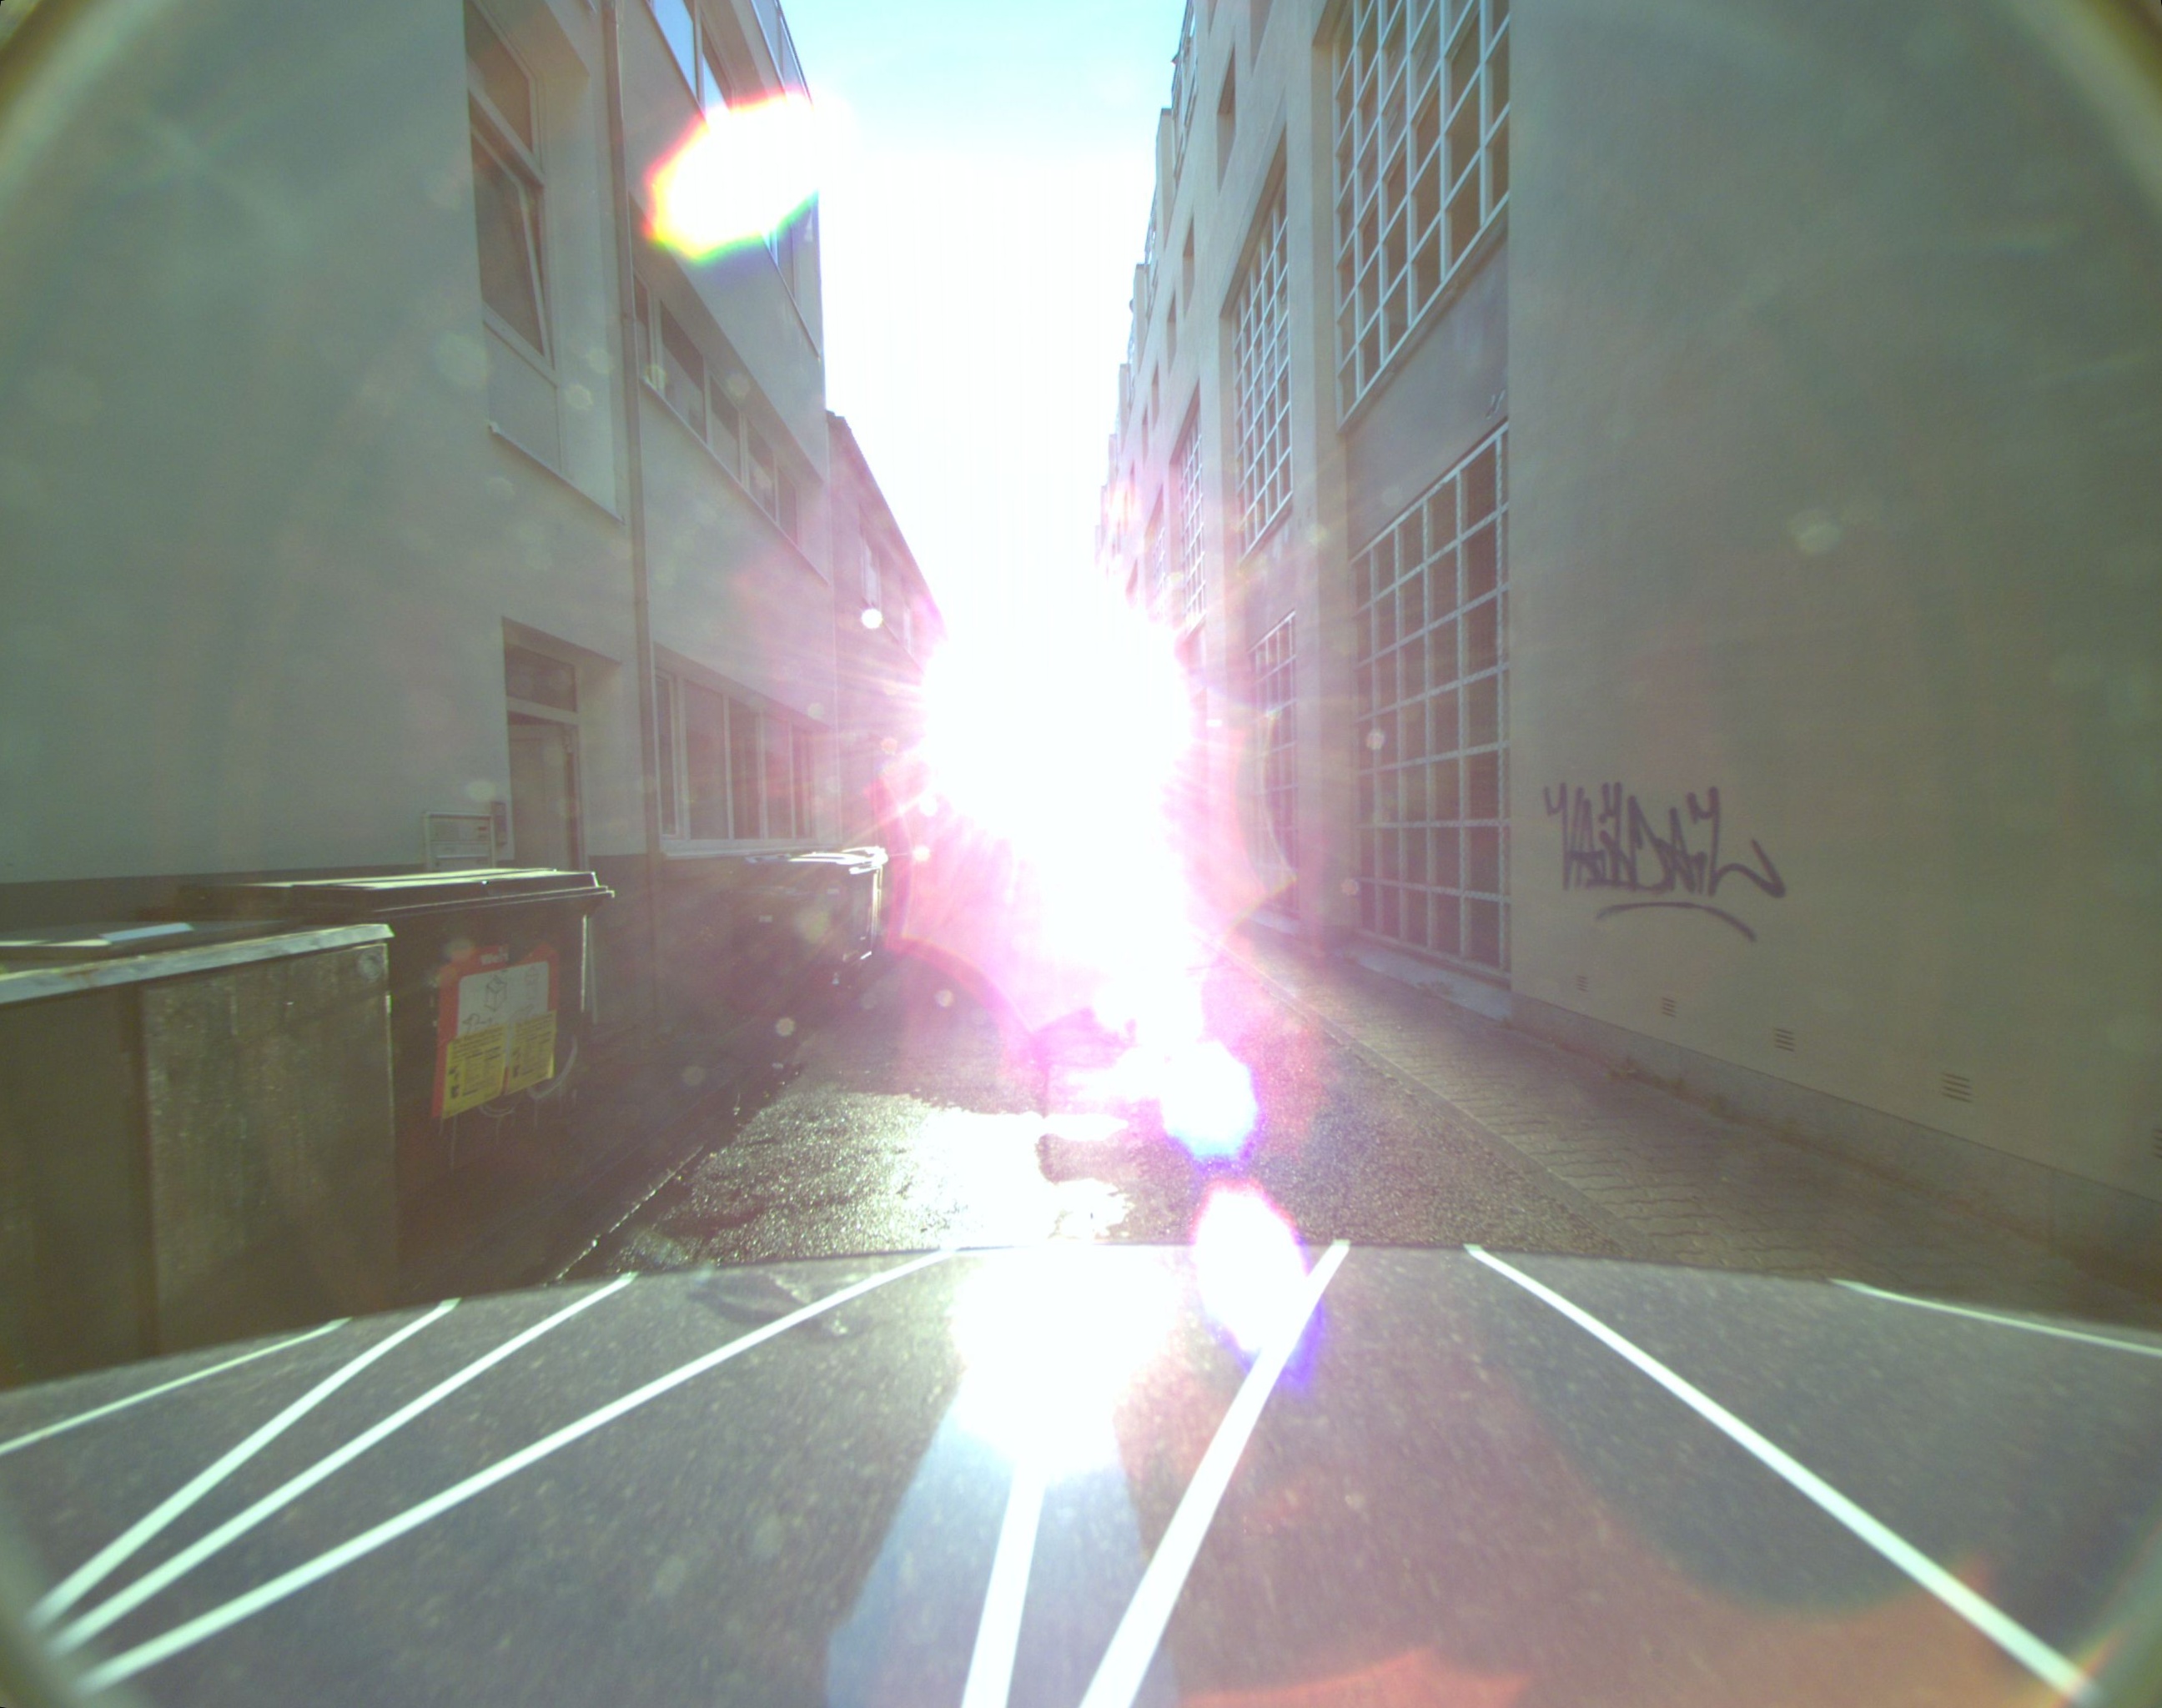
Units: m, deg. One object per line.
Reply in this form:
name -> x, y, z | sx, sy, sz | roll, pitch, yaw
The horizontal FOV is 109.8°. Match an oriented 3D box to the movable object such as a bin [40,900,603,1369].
movable object such as a bin -> -2.678, 0.888, 2.925 | 0.838, 1.297, 1.290 | 1, 2, 1

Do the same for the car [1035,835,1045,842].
car -> -8.916, -3.359, 164.518 | 1.806, 1.415, 3.752 | -3, 2, -8

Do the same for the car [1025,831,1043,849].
car -> -4.964, -1.502, 80.688 | 1.764, 1.757, 4.747 | -3, 2, -3

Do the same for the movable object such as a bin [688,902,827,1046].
movable object such as a bin -> -2.672, 0.973, 6.355 | 0.871, 1.069, 0.738 | 1, 2, -4

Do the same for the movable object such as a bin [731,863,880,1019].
movable object such as a bin -> -2.676, 0.804, 7.577 | 1.067, 1.359, 1.341 | 1, 2, -4

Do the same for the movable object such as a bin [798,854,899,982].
movable object such as a bin -> -2.700, 0.705, 8.979 | 0.940, 1.359, 1.341 | 1, 2, -8

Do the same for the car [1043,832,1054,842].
car -> -6.341, -3.353, 146.660 | 1.999, 1.806, 3.997 | -3, 2, -4
